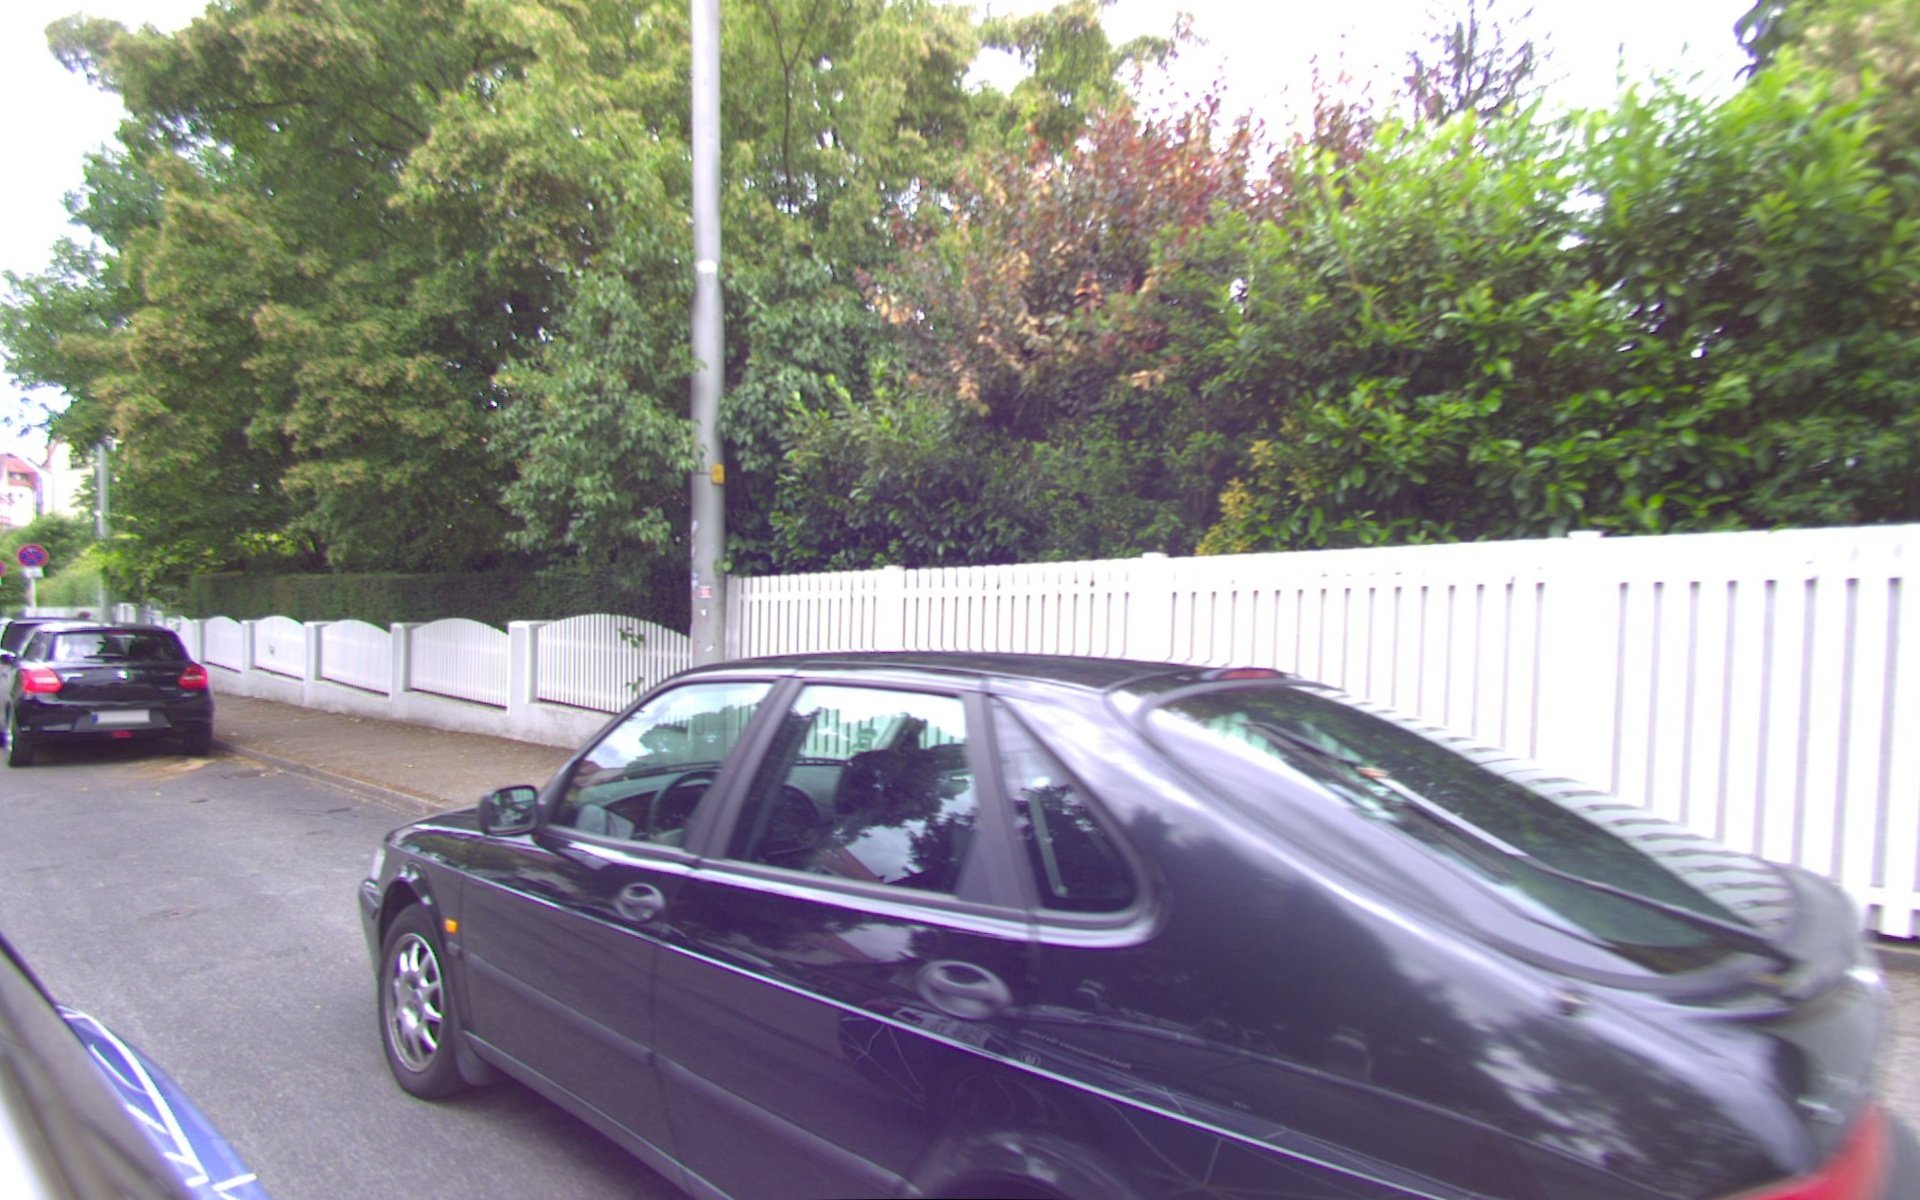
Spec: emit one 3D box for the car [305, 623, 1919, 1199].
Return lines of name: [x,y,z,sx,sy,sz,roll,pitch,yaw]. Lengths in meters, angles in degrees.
car: [-0.240,0.805,2.830,4.550,1.433,1.622,-1,-3,44]

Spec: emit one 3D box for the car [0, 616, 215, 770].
car: [-10.154,0.975,11.752,3.887,1.492,1.637,-1,-4,42]

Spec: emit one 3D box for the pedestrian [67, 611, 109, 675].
pedestrian: [-22.431,1.091,26.033,0.797,1.557,0.602,-1,4,41]

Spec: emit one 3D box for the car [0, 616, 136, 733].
car: [-13.413,1.027,14.692,2.958,1.545,1.606,-1,-3,38]
